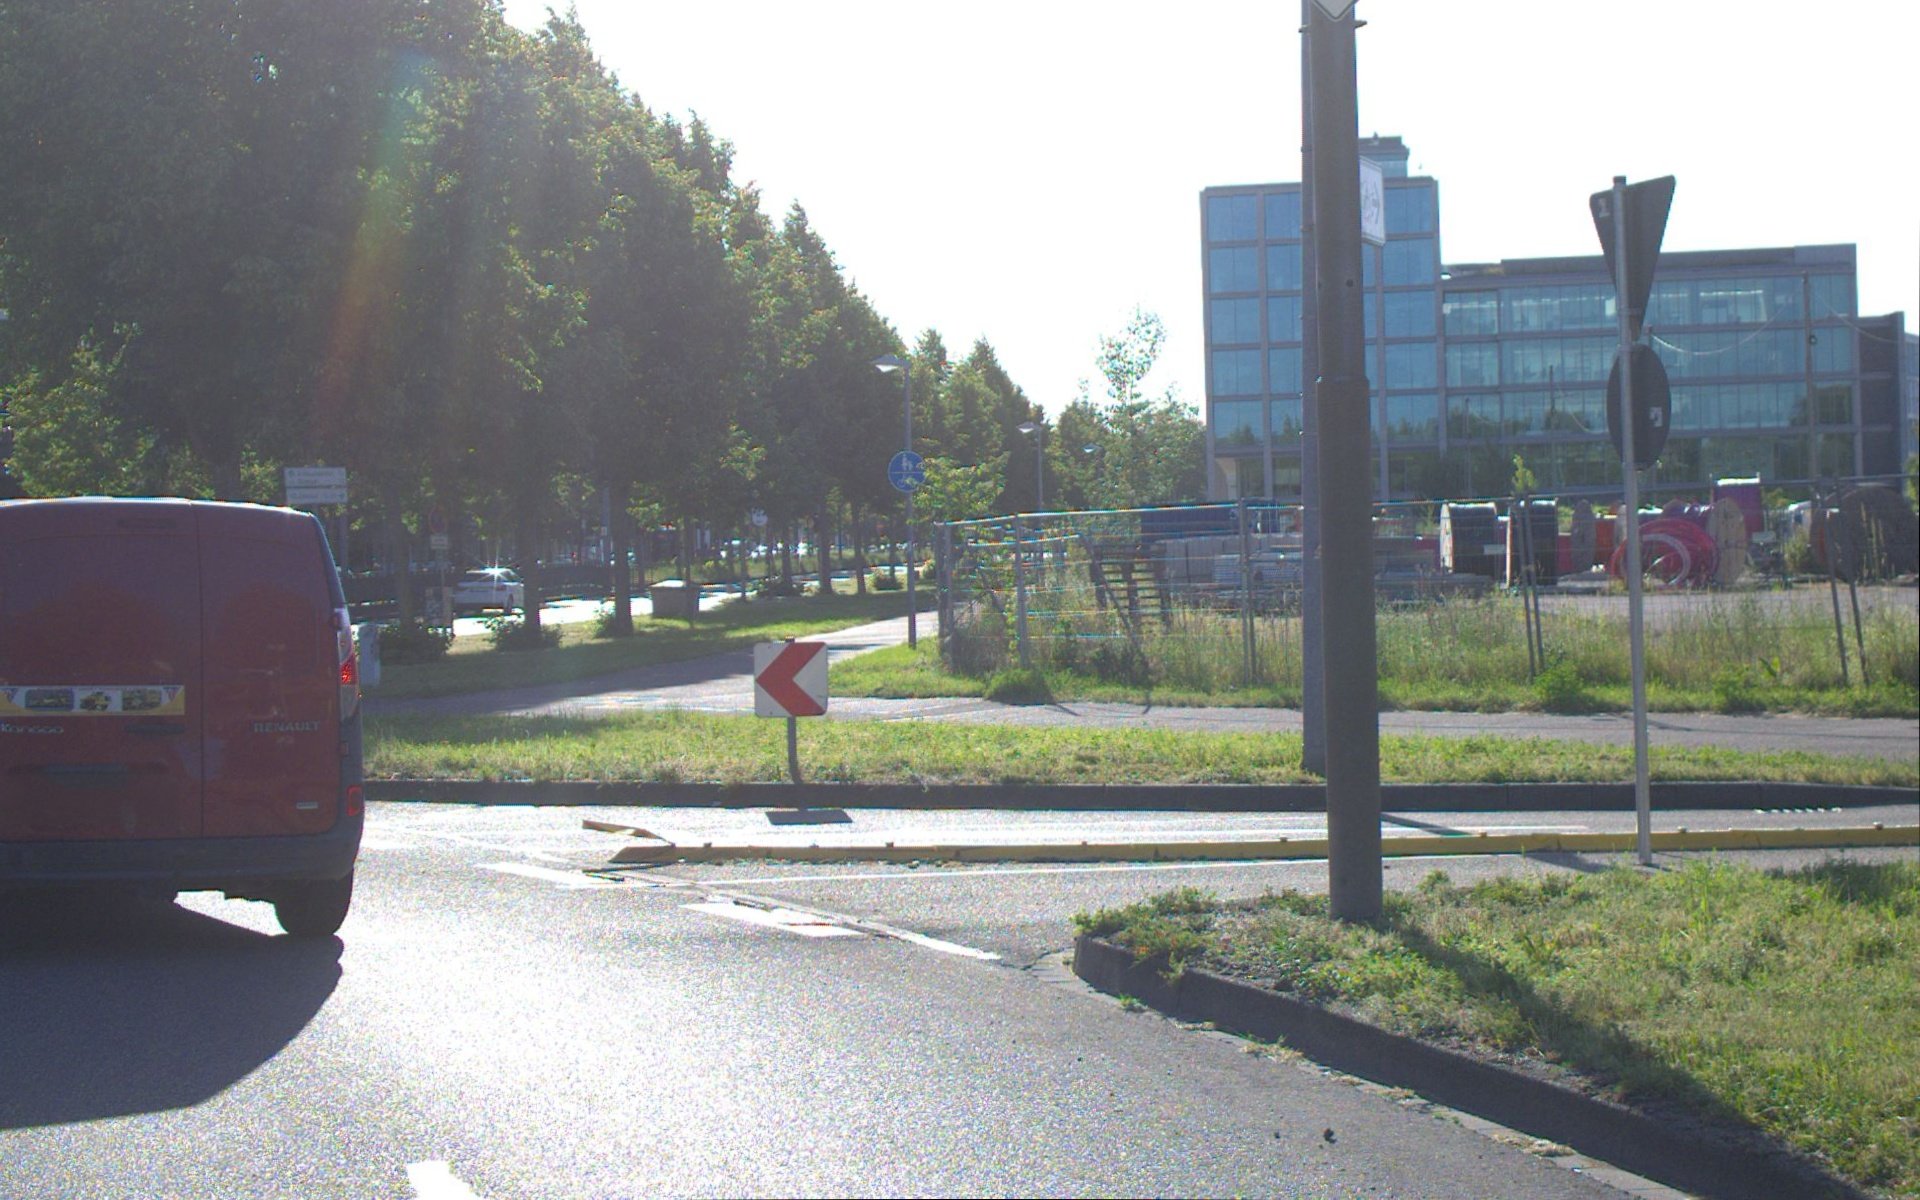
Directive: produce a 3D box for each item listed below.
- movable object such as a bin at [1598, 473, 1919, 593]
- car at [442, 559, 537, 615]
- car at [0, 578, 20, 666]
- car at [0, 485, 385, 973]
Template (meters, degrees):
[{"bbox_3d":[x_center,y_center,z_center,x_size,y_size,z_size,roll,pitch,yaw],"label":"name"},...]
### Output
[{"bbox_3d":[19.871,-1.670,84.929,7.909,2.773,2.943,-1,1,8],"label":"movable object such as a bin"},{"bbox_3d":[-14.560,-0.433,106.587,1.994,1.569,4.408,-2,2,5],"label":"car"},{"bbox_3d":[-18.425,0.472,60.831,1.994,1.569,4.407,-2,2,5],"label":"car"},{"bbox_3d":[-3.895,0.477,14.710,1.802,1.807,3.810,0,0,-26],"label":"car"}]
